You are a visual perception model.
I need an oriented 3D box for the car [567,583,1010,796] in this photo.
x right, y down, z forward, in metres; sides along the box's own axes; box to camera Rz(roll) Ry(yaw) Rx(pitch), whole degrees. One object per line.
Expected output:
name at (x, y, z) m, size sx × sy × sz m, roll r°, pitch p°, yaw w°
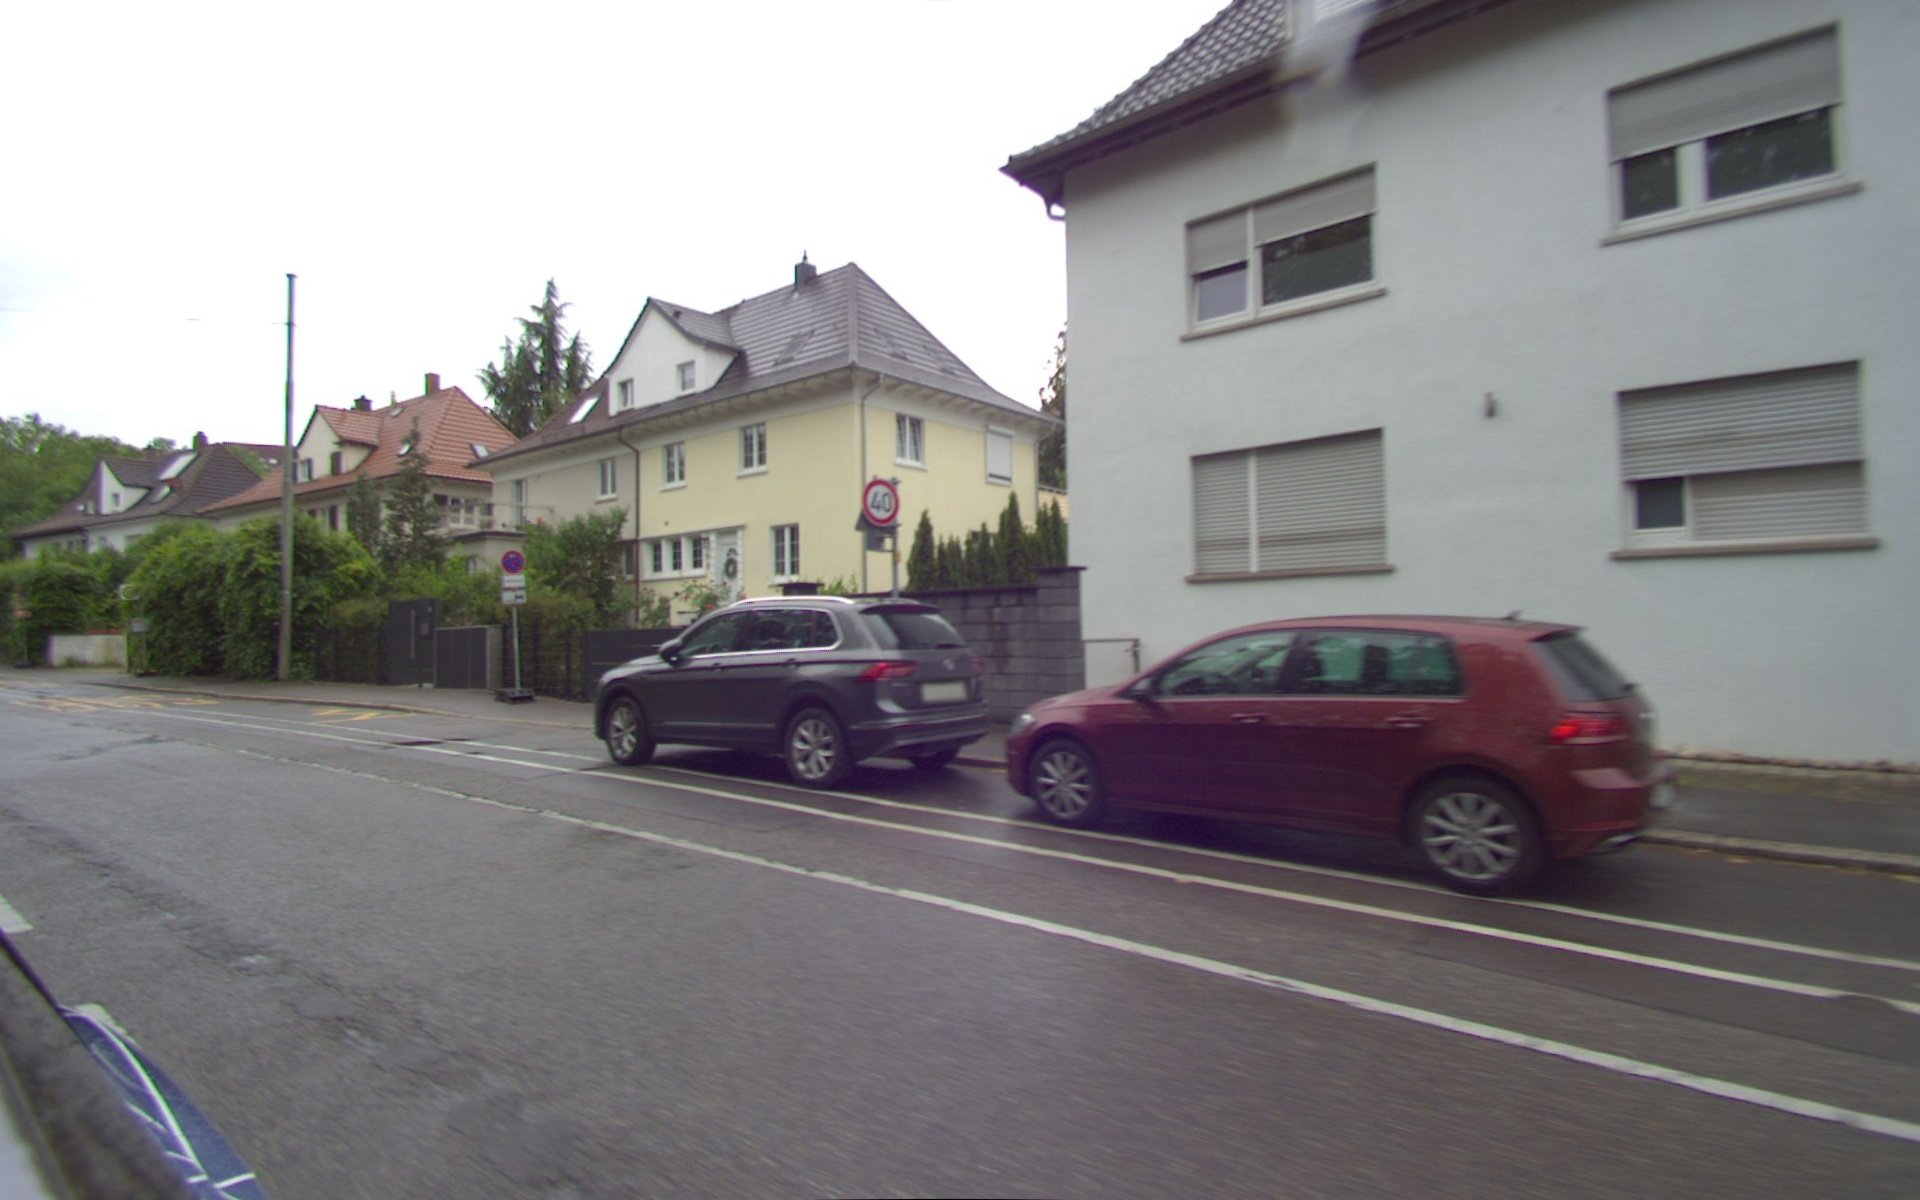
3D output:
car at (-1.811, 0.807, 9.976) m, size 4.396 × 1.671 × 1.738 m, roll -2°, pitch -4°, yaw 36°

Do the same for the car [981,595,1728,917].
car at (2.261, 0.780, 6.594) m, size 4.229 × 1.451 × 1.599 m, roll -3°, pitch -2°, yaw 42°
